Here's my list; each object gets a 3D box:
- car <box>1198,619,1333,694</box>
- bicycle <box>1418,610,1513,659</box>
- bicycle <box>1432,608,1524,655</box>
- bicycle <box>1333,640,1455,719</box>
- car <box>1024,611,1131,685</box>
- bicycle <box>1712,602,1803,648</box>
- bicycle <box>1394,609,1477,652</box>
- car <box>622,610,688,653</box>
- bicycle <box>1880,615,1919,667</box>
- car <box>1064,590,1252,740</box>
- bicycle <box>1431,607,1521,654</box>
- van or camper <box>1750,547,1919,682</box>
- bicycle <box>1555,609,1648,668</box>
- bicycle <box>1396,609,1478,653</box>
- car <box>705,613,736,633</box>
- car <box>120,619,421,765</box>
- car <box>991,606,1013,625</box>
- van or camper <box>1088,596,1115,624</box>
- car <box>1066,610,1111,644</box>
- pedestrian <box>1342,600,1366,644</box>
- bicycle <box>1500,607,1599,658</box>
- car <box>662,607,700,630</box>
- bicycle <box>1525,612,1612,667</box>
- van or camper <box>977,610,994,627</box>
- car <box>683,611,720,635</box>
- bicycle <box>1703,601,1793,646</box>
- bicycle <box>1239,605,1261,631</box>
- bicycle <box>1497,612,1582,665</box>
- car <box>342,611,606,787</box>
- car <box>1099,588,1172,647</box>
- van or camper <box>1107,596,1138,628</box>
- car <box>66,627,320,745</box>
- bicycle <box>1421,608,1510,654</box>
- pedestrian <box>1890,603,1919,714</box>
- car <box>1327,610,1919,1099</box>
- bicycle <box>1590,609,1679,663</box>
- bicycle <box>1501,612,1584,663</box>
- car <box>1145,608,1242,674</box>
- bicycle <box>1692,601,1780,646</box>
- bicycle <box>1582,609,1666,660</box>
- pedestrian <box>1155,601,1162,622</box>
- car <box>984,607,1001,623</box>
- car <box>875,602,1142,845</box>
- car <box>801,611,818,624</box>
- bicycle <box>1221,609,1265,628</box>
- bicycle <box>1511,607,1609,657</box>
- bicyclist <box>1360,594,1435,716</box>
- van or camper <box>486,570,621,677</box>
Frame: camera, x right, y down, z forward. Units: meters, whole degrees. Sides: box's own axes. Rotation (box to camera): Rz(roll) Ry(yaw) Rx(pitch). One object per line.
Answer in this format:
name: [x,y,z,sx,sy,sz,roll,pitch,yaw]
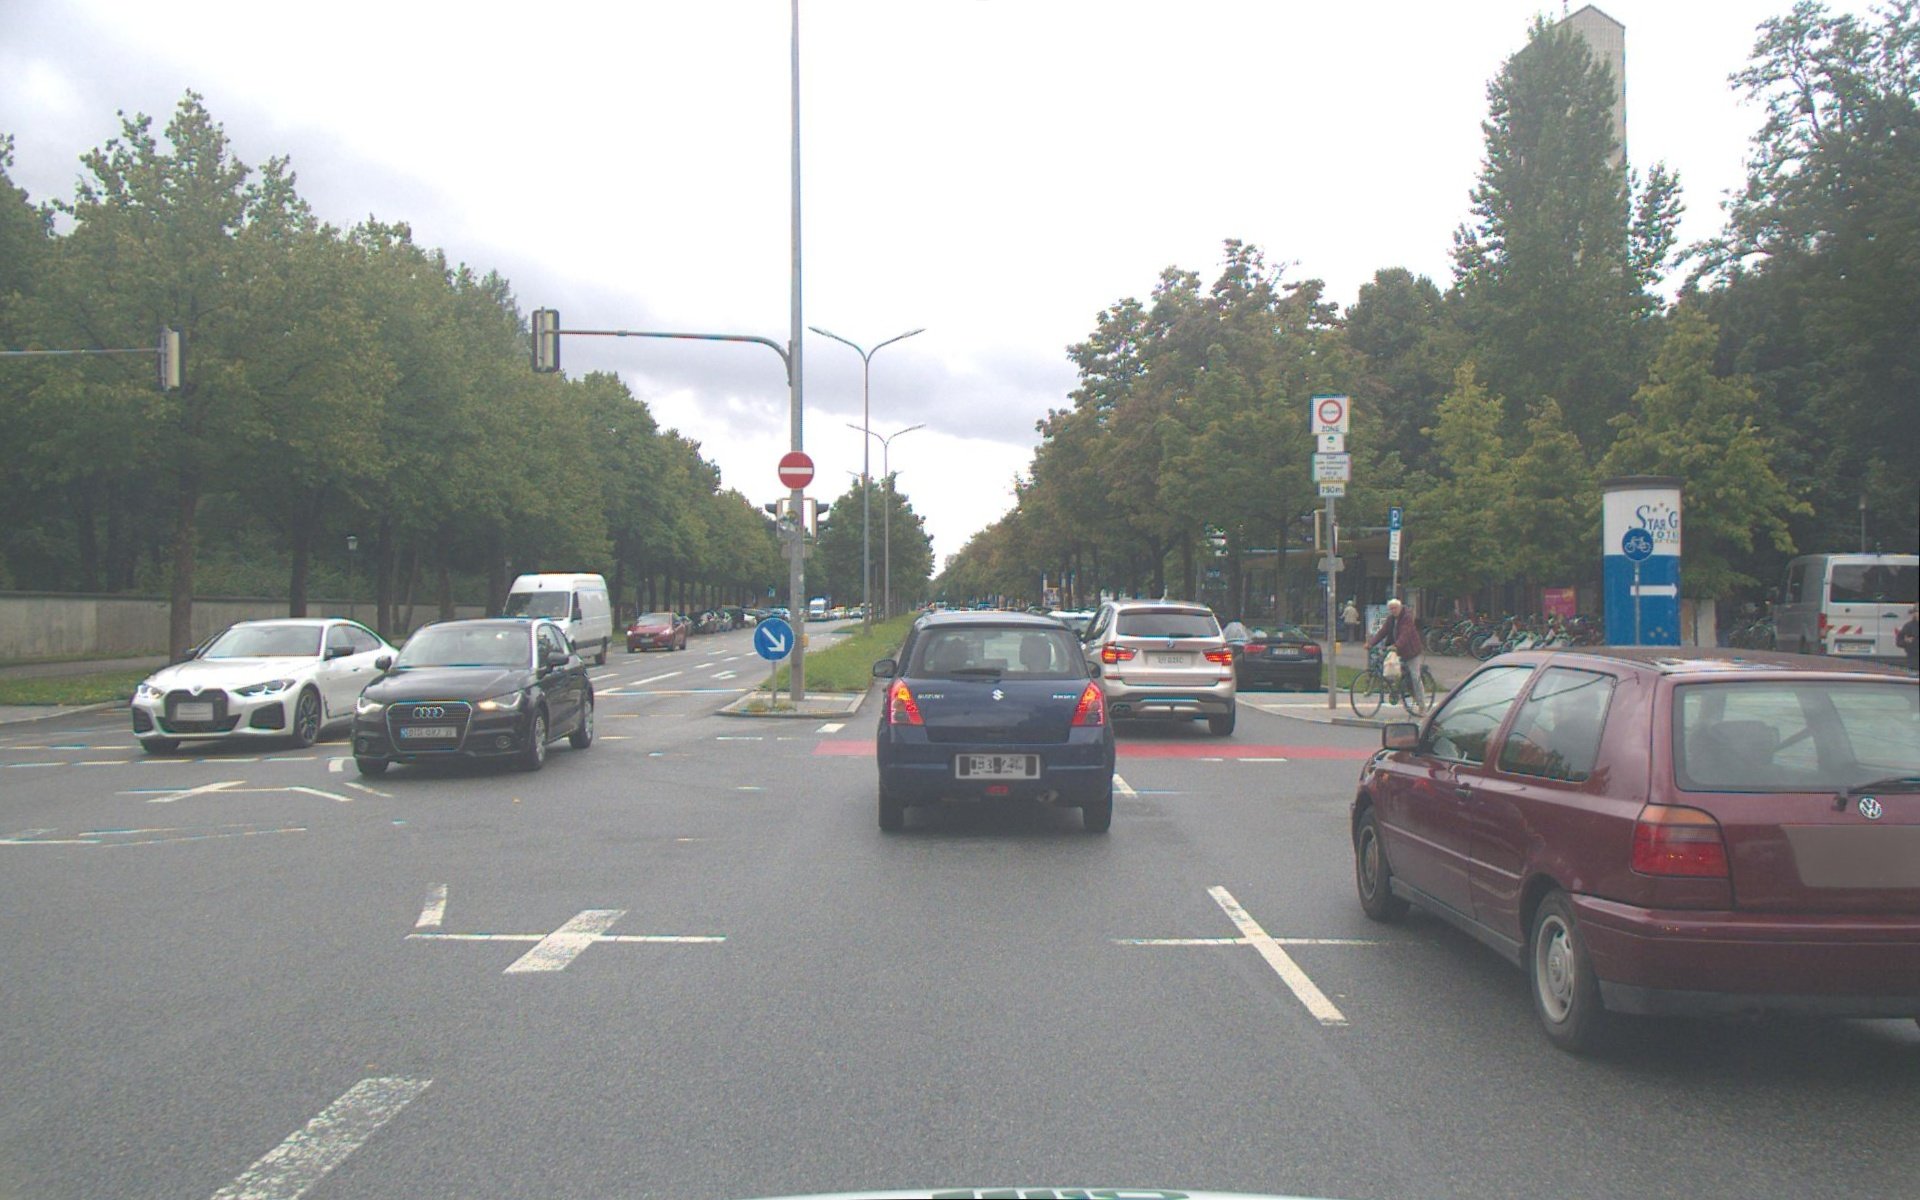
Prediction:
car: [6.092,1.100,33.517,1.676,1.384,4.618,0,0,-3]
bicycle: [13.251,0.897,43.370,2.291,1.177,0.585,-3,0,-2]
bicycle: [14.172,0.864,45.271,2.291,1.177,0.529,-3,0,-2]
bicycle: [6.507,1.169,24.772,1.926,1.100,0.738,0,-1,-37]
car: [2.441,0.980,35.223,1.813,1.472,4.095,0,0,-3]
bicycle: [22.474,0.701,46.637,2.291,1.177,0.529,-3,0,-2]
bicycle: [14.307,0.918,49.784,2.291,1.177,0.529,-3,0,-2]
car: [-11.697,1.188,63.666,1.708,1.477,4.656,-3,0,-1]
bicycle: [22.466,0.963,39.105,2.113,1.174,0.707,0,-1,-45]
car: [2.490,0.784,21.763,1.813,1.773,4.095,0,0,-3]
bicycle: [14.300,0.852,45.825,2.291,1.177,0.529,-3,0,-2]
van or camper: [16.914,0.262,31.813,2.096,2.336,6.203,-1,0,16]
bicycle: [14.209,0.850,36.646,1.905,1.233,0.565,-2,-1,-13]
bicycle: [14.091,0.911,48.865,2.296,1.177,0.528,-3,0,-10]
car: [-17.842,1.701,123.420,1.602,1.464,4.808,1,0,0]
car: [-8.140,1.015,20.047,1.692,1.513,4.742,-1,0,0]
car: [3.604,1.326,142.492,1.728,1.680,4.422,0,0,-1]
van or camper: [13.281,0.939,155.462,1.983,2.603,5.955,-1,0,-1]
car: [5.987,1.224,77.509,1.683,1.535,4.222,0,0,-1]
pedestrian: [14.046,0.779,58.949,0.570,1.540,0.690,0,-1,-19]
bicycle: [15.097,0.830,42.382,2.291,1.177,0.585,-3,0,-2]
car: [-17.411,1.141,103.292,1.625,1.420,4.705,1,0,-1]
bicycle: [13.683,0.888,37.211,1.775,1.162,0.565,-2,-1,-13]
van or camper: [3.052,2.234,198.645,1.905,2.009,4.305,0,0,0]
car: [-17.383,1.549,111.354,1.538,1.529,4.305,1,0,3]
bicycle: [22.697,0.686,47.647,2.291,1.177,0.529,-3,0,-2]
bicycle: [14.759,0.904,84.243,0.632,1.303,2.550,0,0,-1]
bicycle: [13.519,0.892,38.606,1.768,1.162,0.568,-2,-1,8]
car: [-4.647,0.874,16.333,1.606,1.513,3.779,0,0,-2]
car: [5.495,0.521,52.376,1.712,1.754,4.905,0,0,-1]
van or camper: [13.575,1.027,138.435,1.953,2.603,5.955,-1,0,-1]
car: [-10.936,1.165,23.937,1.688,1.441,4.215,-2,0,0]
bicycle: [14.174,0.859,46.372,2.291,1.177,0.529,-3,0,-2]
pedestrian: [13.733,0.824,23.570,0.676,1.565,0.738,-1,-1,18]
car: [2.850,0.791,7.064,1.589,1.479,3.948,0,0,-2]
bicycle: [15.440,0.818,37.896,1.768,1.162,0.567,-2,-1,4]
bicycle: [13.979,0.895,39.706,1.768,1.162,0.567,-2,-1,4]
car: [5.839,0.994,41.807,1.678,1.574,4.379,0,0,-2]
bicycle: [22.633,0.688,48.281,2.291,1.177,0.529,-3,0,-2]
bicycle: [15.911,0.825,39.653,1.769,1.162,0.567,-2,-1,-1]
pedestrian: [17.673,1.023,147.189,0.563,1.782,0.732,0,-1,3]
car: [3.339,1.567,171.235,1.650,1.552,4.455,1,0,0]
car: [0.233,0.823,12.903,1.753,1.583,3.998,0,0,-3]
car: [-18.400,2.098,202.633,1.875,1.569,4.185,-1,0,-3]
bicycle: [16.815,1.086,98.156,2.490,1.108,0.647,0,-1,-1]
bicycle: [15.612,0.822,43.046,2.291,1.177,0.585,-3,0,-2]
bicyclist: [6.568,0.805,24.822,0.819,1.795,0.737,0,-1,-37]
van or camper: [-11.272,0.616,46.433,2.134,2.693,6.948,-2,0,-1]
